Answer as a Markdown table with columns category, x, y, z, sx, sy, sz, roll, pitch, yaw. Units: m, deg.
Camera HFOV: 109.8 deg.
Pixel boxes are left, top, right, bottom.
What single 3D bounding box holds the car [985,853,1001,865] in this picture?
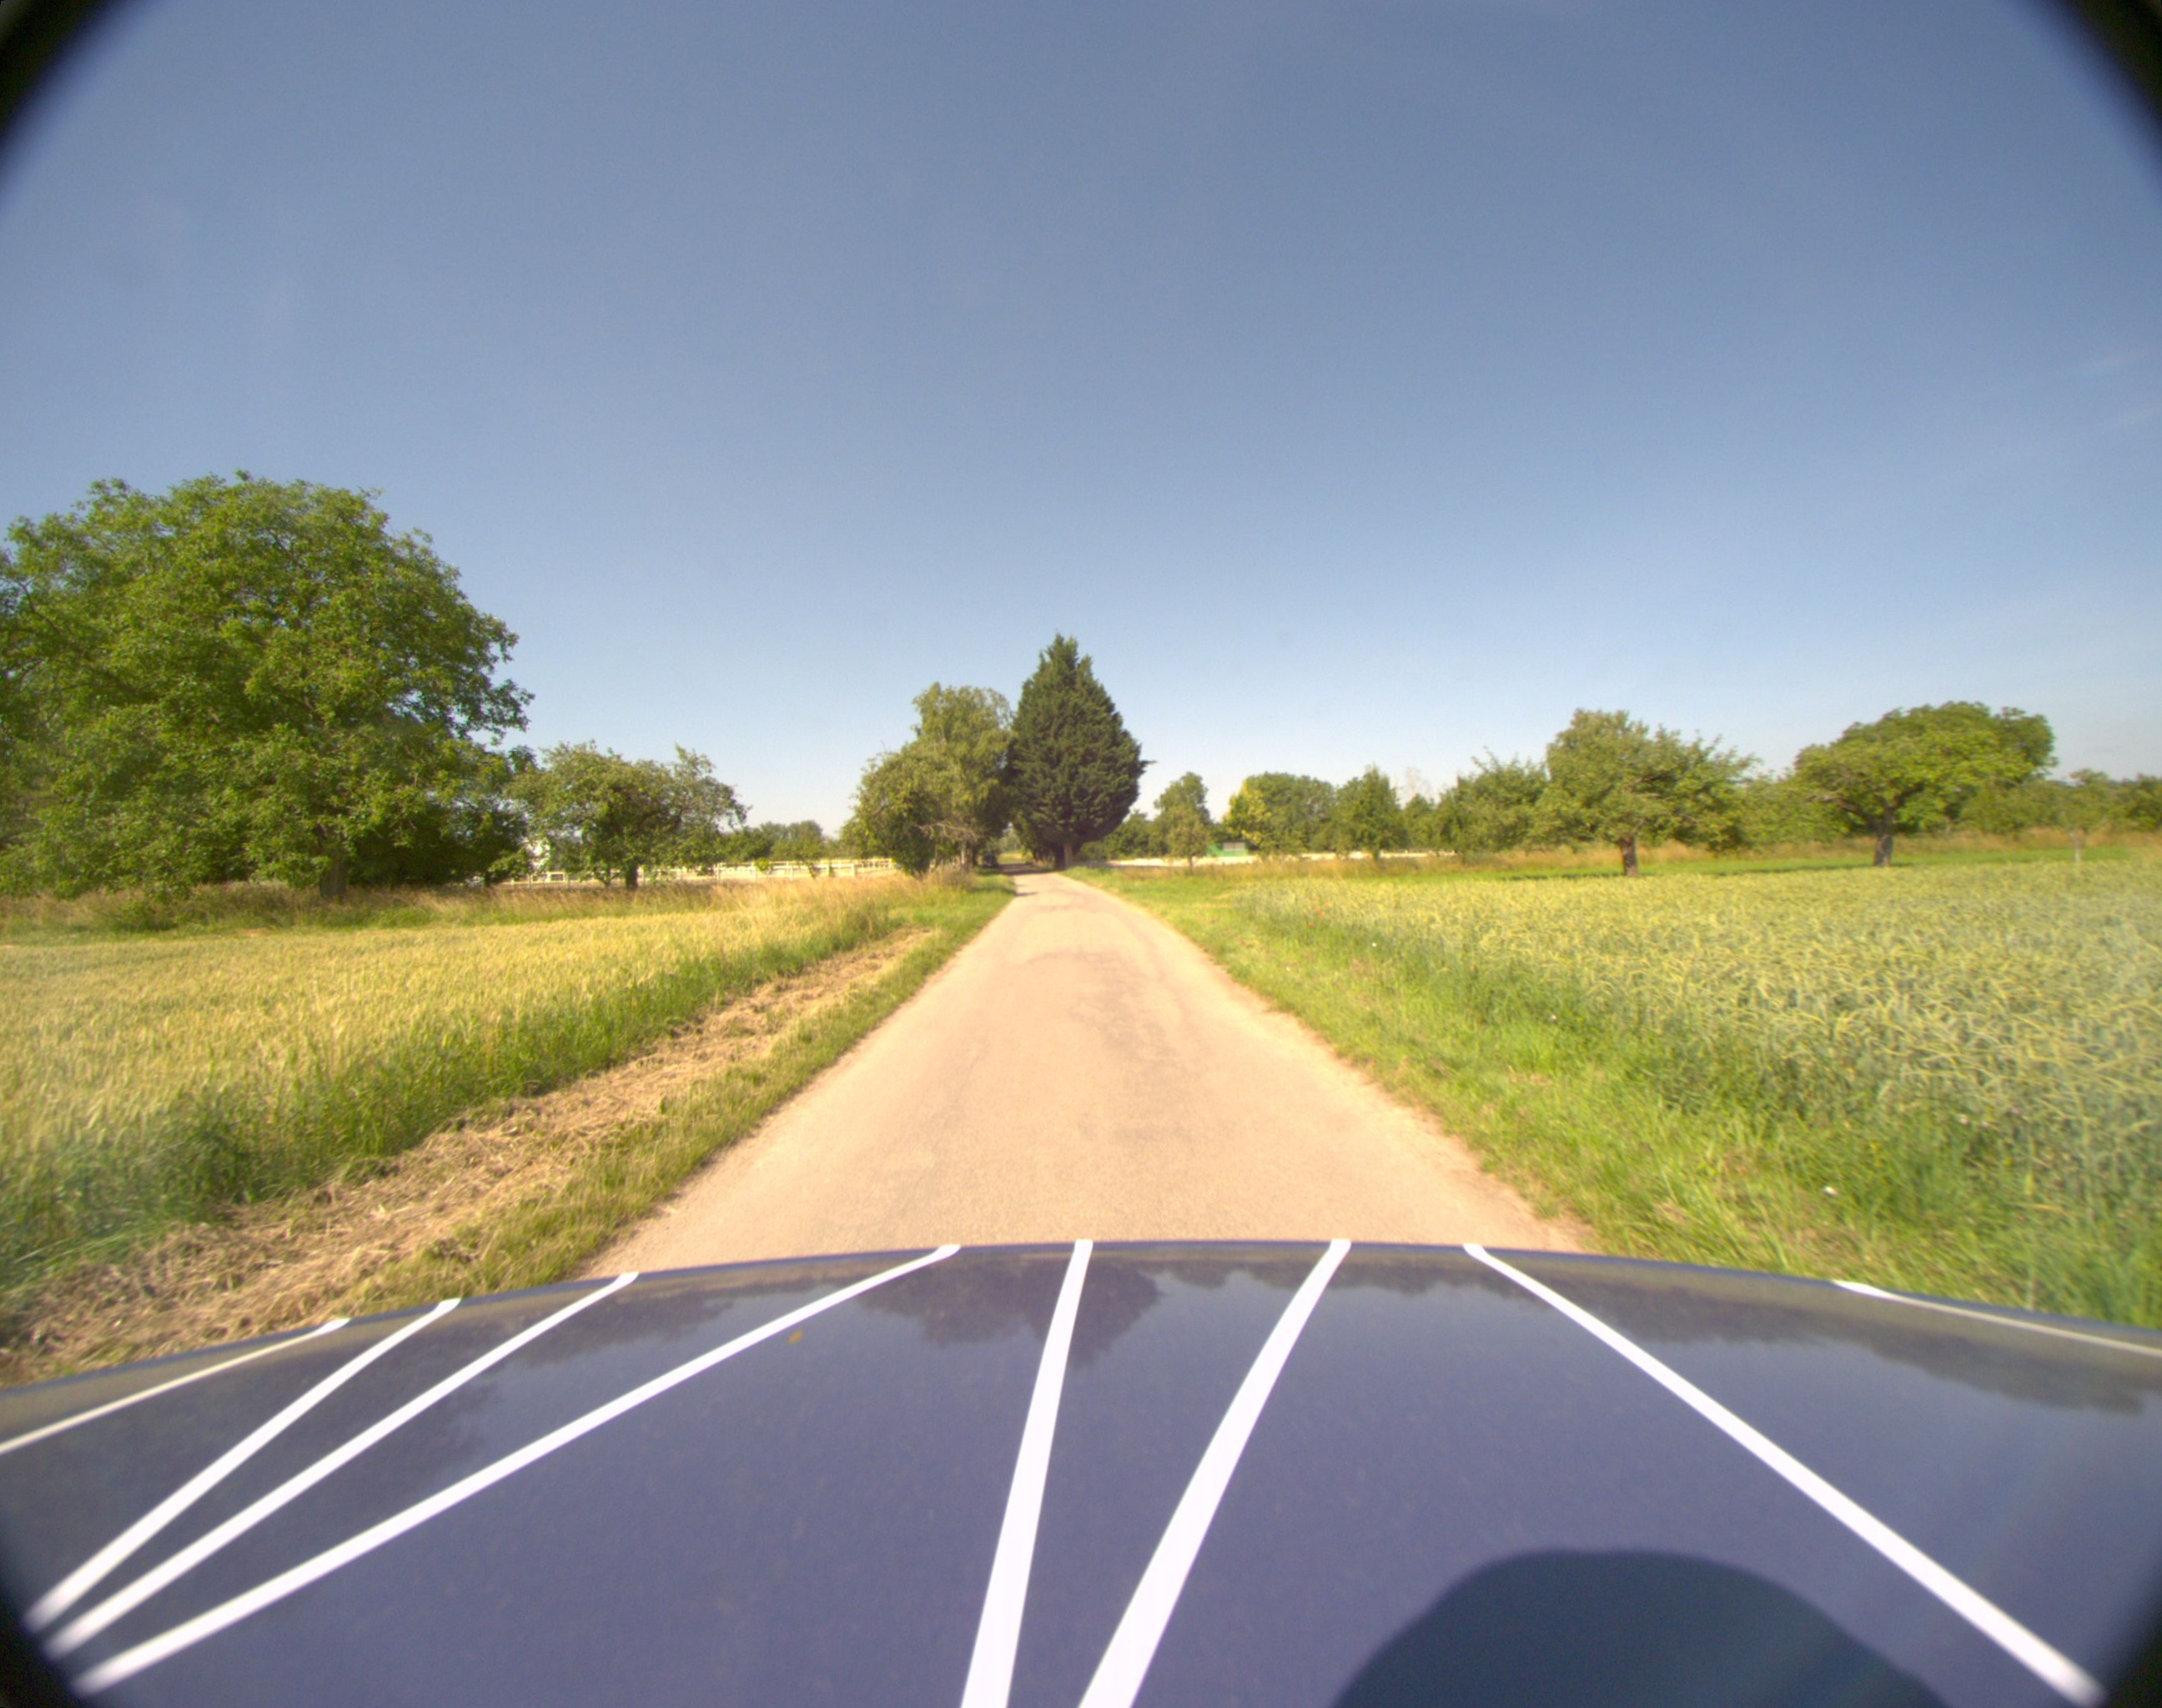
| category | x | y | z | sx | sy | sz | roll | pitch | yaw |
| --- | --- | --- | --- | --- | --- | --- | --- | --- | --- |
| car | -10.756 | 0.589 | 92.788 | 1.723 | 1.312 | 3.740 | -2 | 0 | -8 |
